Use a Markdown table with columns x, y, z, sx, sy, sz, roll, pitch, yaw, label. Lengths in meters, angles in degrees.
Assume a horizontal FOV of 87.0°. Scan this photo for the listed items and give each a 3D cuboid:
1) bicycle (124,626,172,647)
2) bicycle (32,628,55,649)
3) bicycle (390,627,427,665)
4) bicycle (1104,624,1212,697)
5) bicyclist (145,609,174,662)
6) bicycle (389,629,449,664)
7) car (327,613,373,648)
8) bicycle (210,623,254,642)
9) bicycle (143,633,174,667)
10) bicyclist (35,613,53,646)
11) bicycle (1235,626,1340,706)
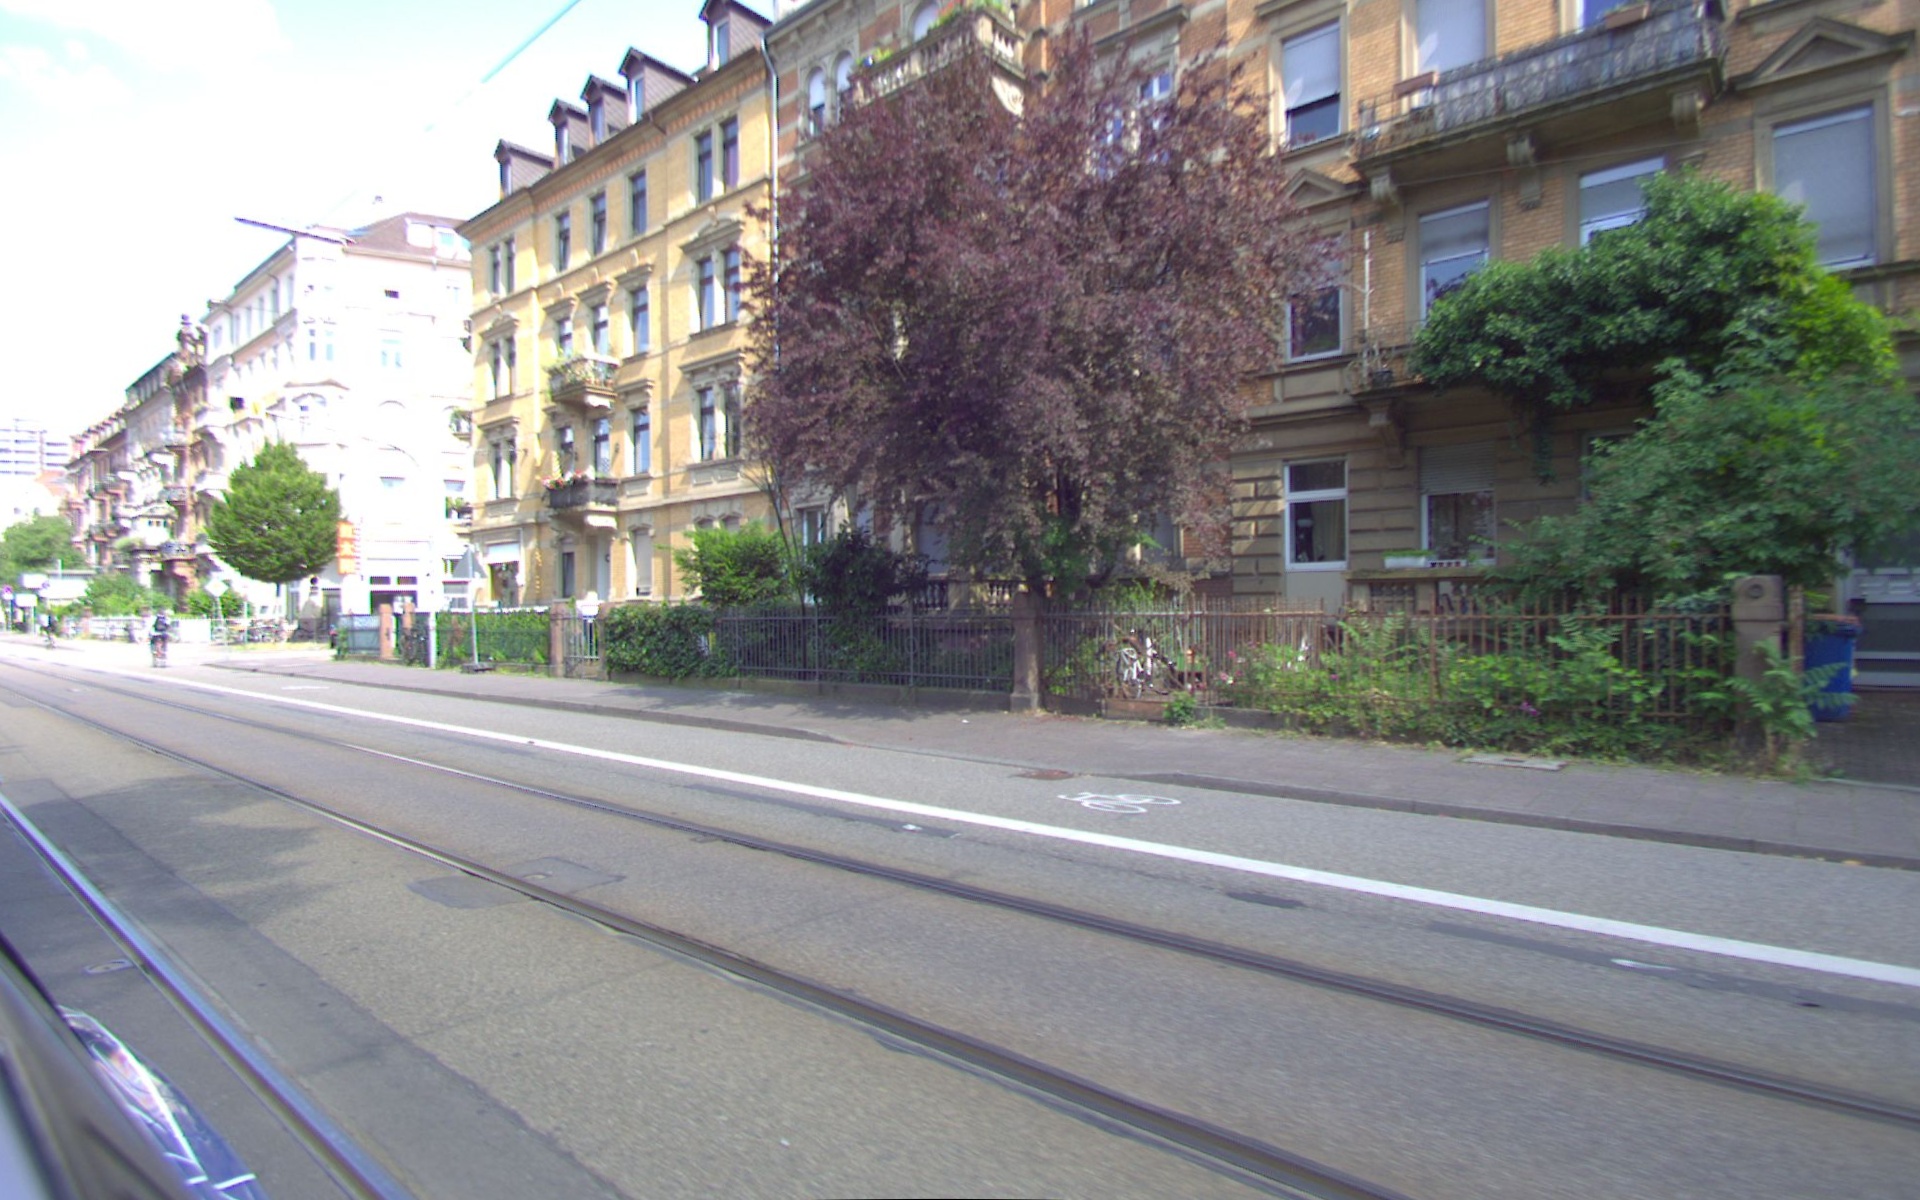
| x | y | z | sx | sy | sz | roll | pitch | yaw | label |
| --- | --- | --- | --- | --- | --- | --- | --- | --- | --- |
| -38.902 | 1.757 | 48.502 | 1.724 | 0.948 | 0.485 | 2 | -2 | -25 | bicycle |
| -42.864 | 1.816 | 47.320 | 1.752 | 0.948 | 0.477 | 0 | -2 | 38 | bicycle |
| -14.447 | 1.209 | 26.504 | 1.472 | 0.948 | 0.395 | -5 | -5 | 43 | bicycle |
| 2.897 | 0.837 | 14.648 | 0.586 | 0.944 | 2.106 | -1 | -1 | 40 | bicycle |
| -23.279 | 1.018 | 29.428 | 0.605 | 1.510 | 0.744 | 2 | -2 | -37 | bicyclist |
| -15.161 | 1.307 | 28.395 | 0.401 | 0.948 | 1.412 | -5 | -5 | 43 | bicycle |
| -28.189 | 1.383 | 46.789 | 1.751 | 1.541 | 3.877 | 0 | -1 | -31 | car |
| -36.984 | 1.635 | 51.420 | 0.483 | 0.948 | 1.731 | -1 | -2 | 40 | bicycle |
| -23.278 | 1.435 | 29.409 | 0.598 | 0.948 | 1.758 | 2 | -2 | -37 | bicycle |
| -42.788 | 1.385 | 47.279 | 0.742 | 1.510 | 0.471 | 0 | -2 | 38 | bicyclist |
| 4.440 | 0.849 | 13.611 | 0.586 | 0.944 | 2.106 | -1 | -1 | 40 | bicycle |
